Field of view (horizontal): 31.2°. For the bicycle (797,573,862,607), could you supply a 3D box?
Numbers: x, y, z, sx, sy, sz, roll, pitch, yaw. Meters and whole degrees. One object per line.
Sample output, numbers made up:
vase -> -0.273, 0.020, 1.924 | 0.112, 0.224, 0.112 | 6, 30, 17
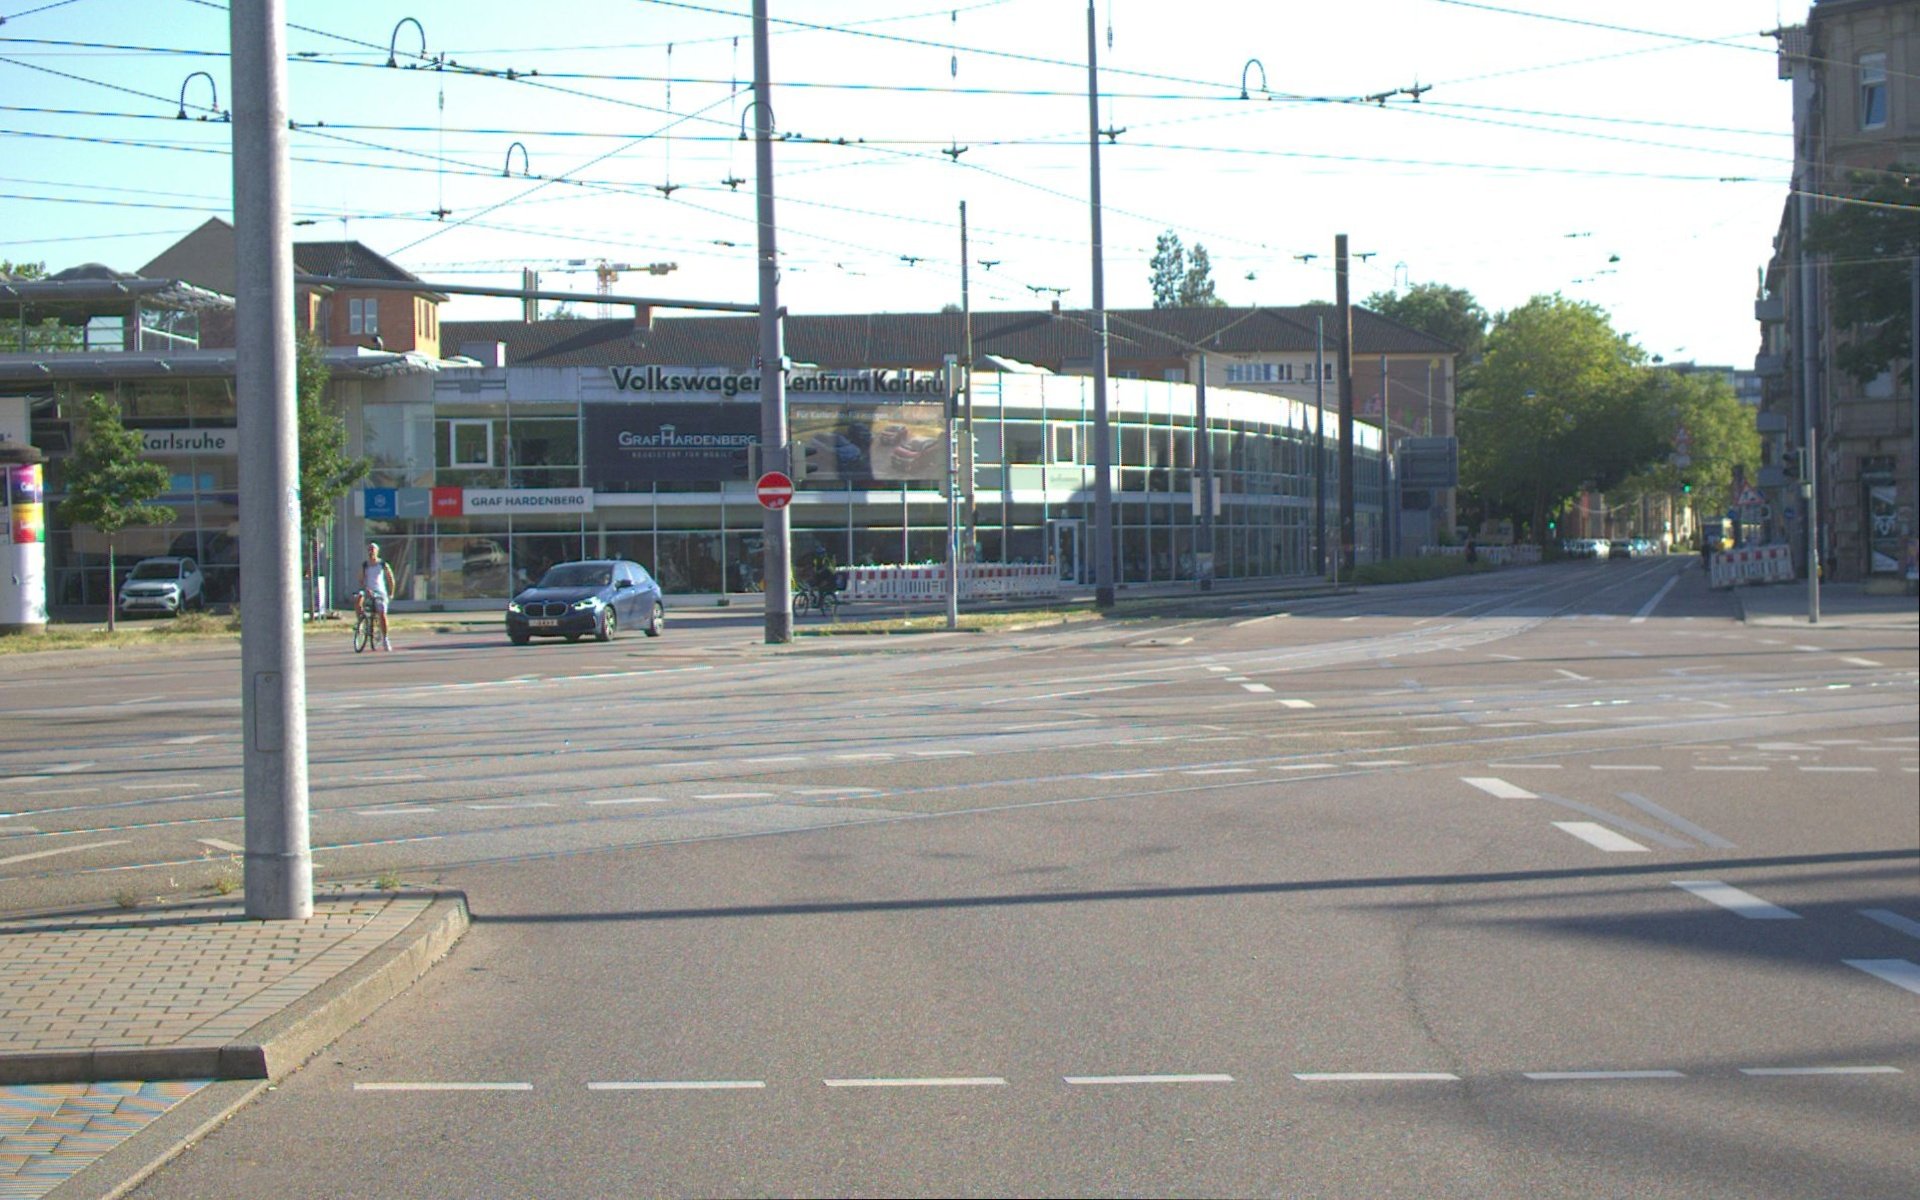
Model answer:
bicycle -> -3.420, -0.259, 90.239 | 0.639, 0.867, 2.231 | 1, 0, 29

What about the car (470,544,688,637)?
car -> -6.757, -0.162, 61.282 | 1.996, 1.579, 3.994 | 1, 0, 27

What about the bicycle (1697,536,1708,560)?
bicycle -> 30.118, -2.105, 139.395 | 0.410, 0.938, 1.844 | 1, 0, 12

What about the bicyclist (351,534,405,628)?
bicyclist -> -10.061, -0.334, 59.476 | 0.598, 1.610, 0.822 | 1, 0, 17

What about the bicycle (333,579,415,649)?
bicycle -> -10.108, 0.233, 59.336 | 0.613, 1.185, 1.867 | 1, 0, 17

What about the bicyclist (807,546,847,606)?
bicyclist -> -3.480, -0.628, 90.170 | 0.655, 1.567, 0.921 | 1, 0, 29

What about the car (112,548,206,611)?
car -> -22.986, -0.595, 98.781 | 1.993, 1.744, 4.001 | 1, 0, -4
